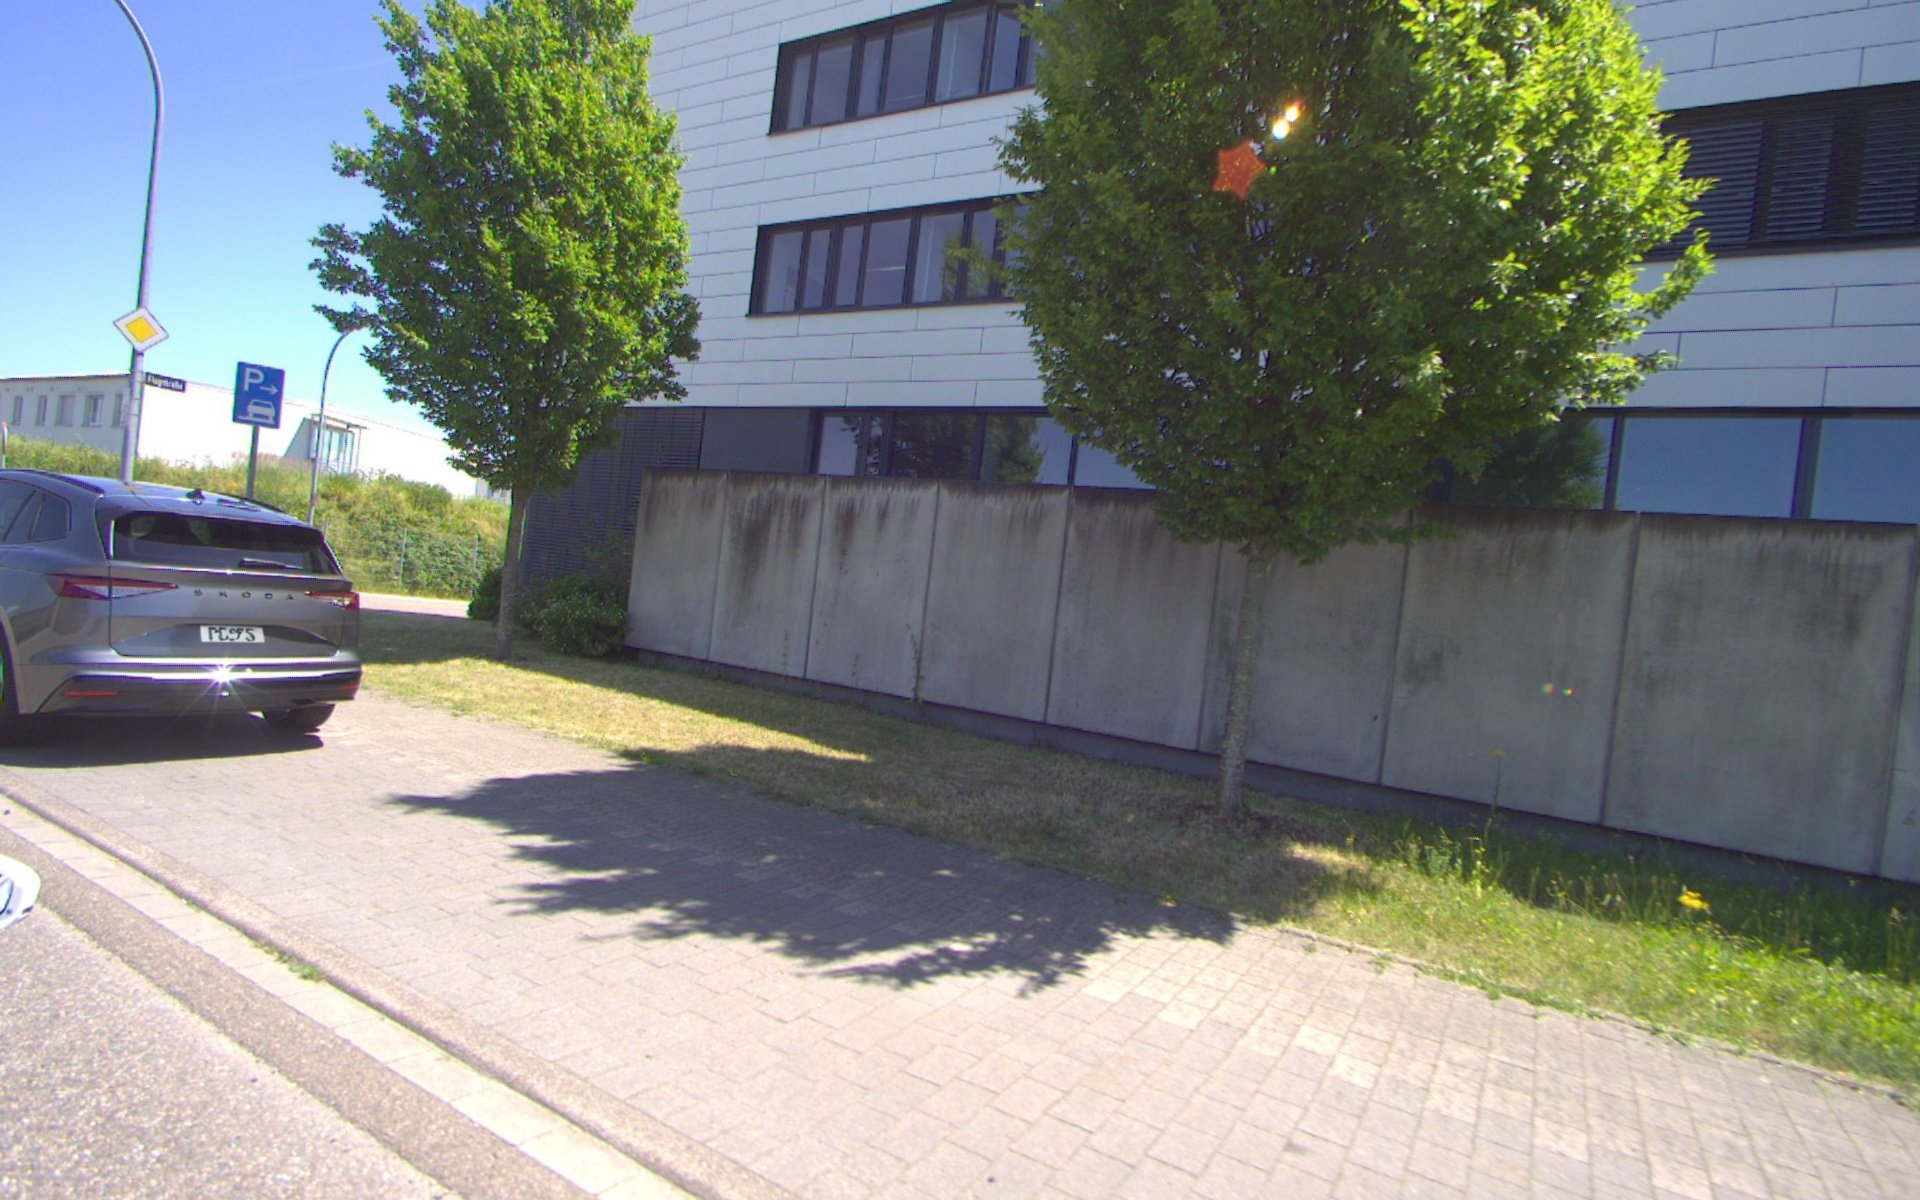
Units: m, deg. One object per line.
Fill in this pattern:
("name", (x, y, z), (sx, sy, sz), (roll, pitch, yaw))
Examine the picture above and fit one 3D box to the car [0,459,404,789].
("car", (-6.174, -0.066, 7.107), (4.530, 1.684, 1.805), (7, 2, 30))
